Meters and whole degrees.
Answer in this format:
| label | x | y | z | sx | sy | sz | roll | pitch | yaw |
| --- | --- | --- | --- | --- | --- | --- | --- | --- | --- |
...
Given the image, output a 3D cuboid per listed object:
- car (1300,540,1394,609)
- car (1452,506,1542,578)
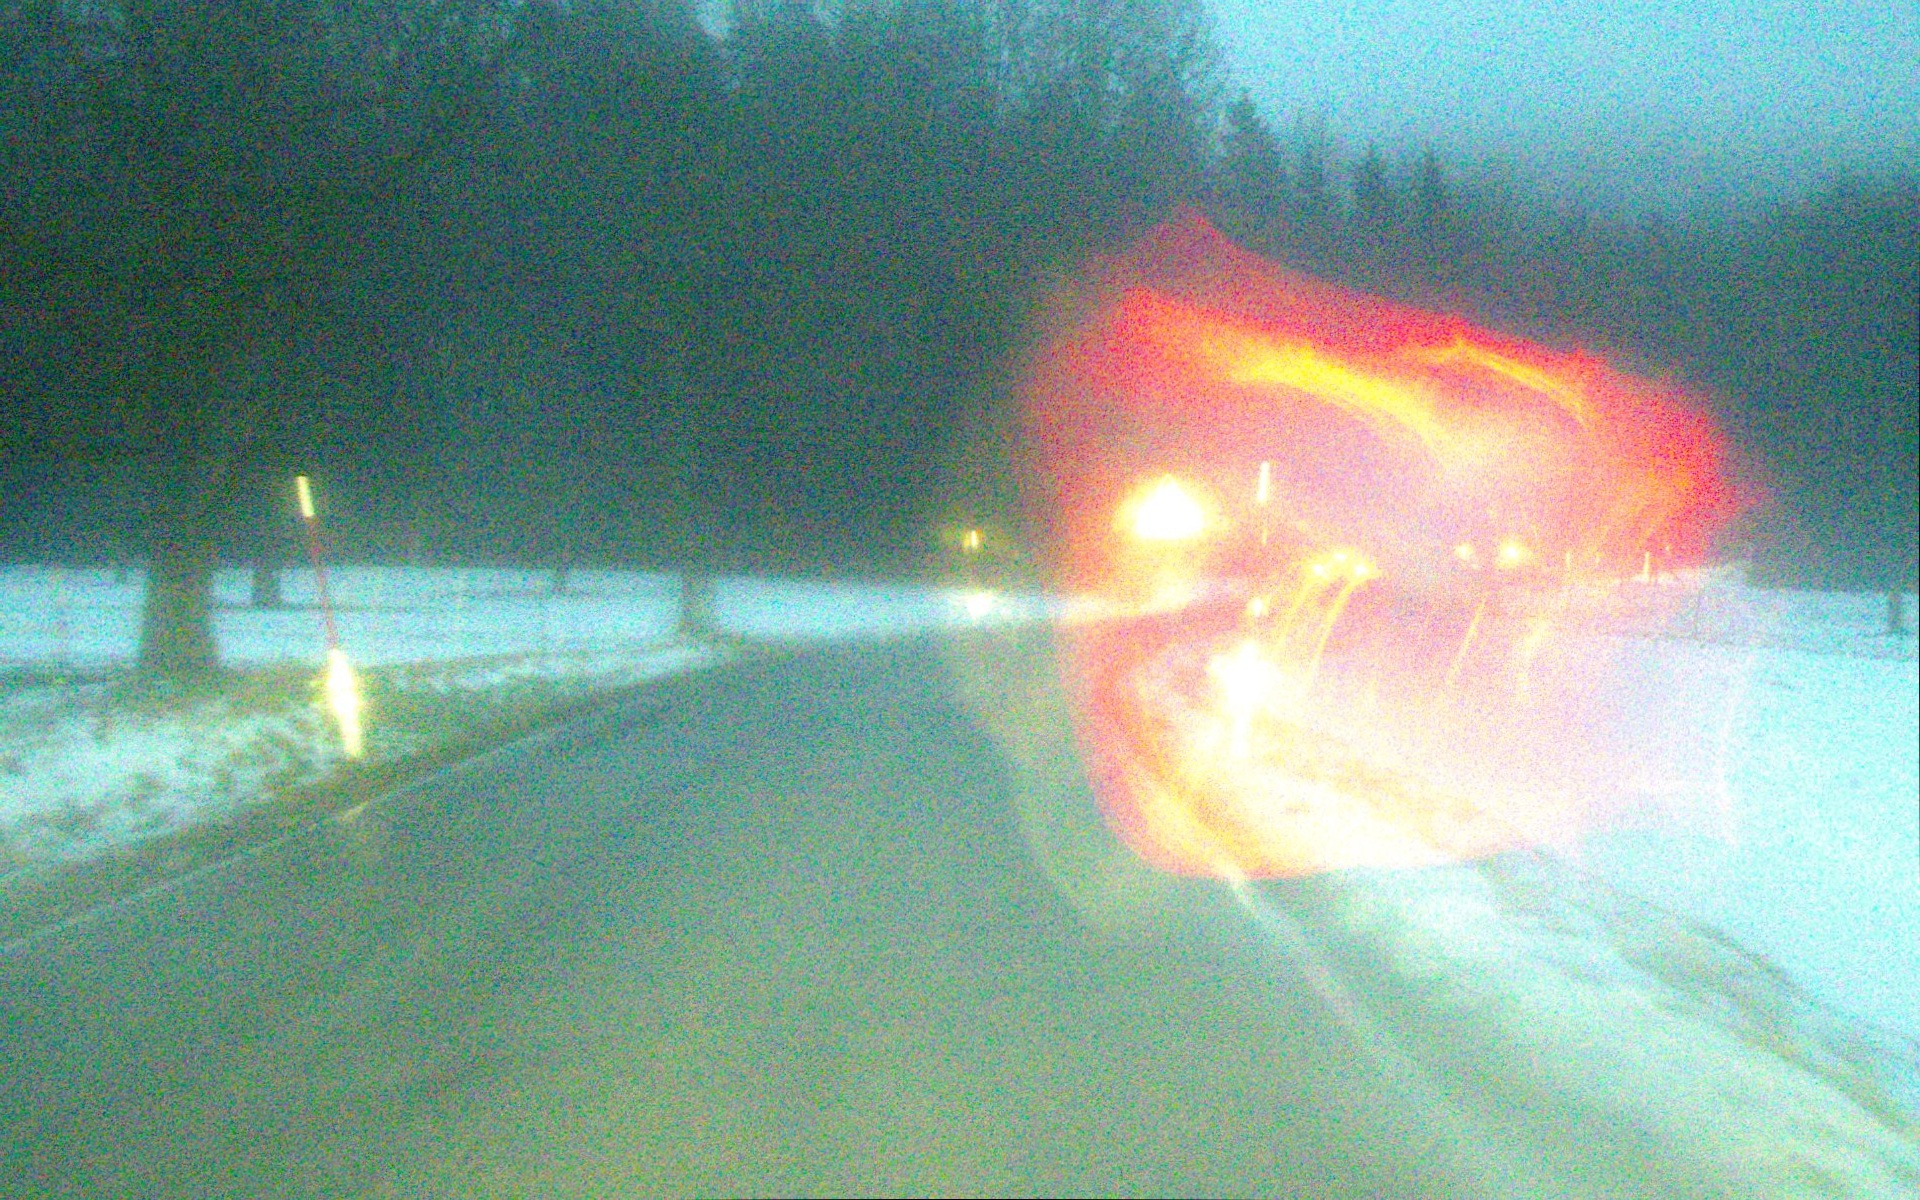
| label | x | y | z | sx | sy | sz | roll | pitch | yaw |
| --- | --- | --- | --- | --- | --- | --- | --- | --- | --- |
| car | 11.925 | -0.767 | 105.854 | 1.995 | 2.045 | 3.996 | 1 | 0 | 19 |
| car | 20.246 | -2.189 | 129.467 | 2.255 | 2.636 | 5.000 | 0 | 1 | 23 |
